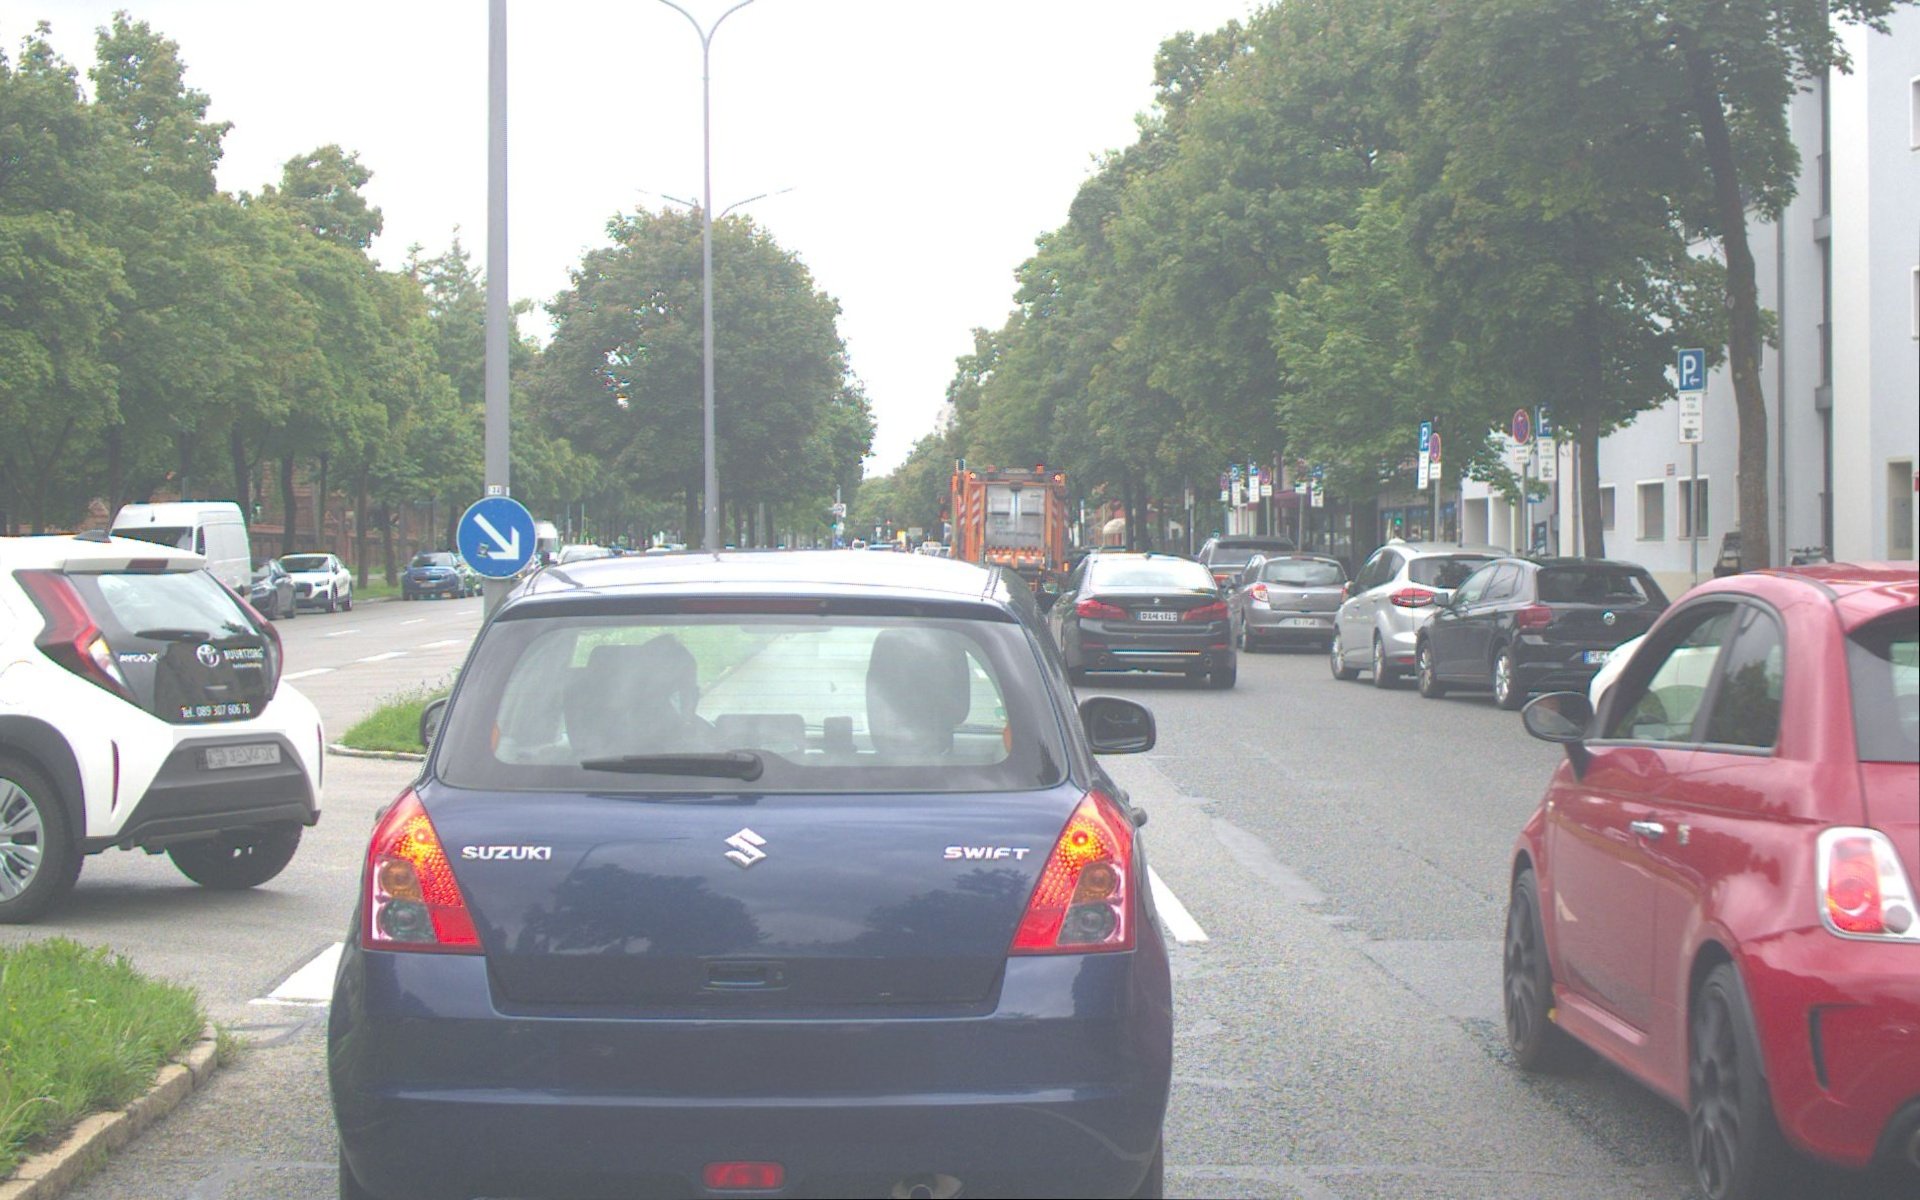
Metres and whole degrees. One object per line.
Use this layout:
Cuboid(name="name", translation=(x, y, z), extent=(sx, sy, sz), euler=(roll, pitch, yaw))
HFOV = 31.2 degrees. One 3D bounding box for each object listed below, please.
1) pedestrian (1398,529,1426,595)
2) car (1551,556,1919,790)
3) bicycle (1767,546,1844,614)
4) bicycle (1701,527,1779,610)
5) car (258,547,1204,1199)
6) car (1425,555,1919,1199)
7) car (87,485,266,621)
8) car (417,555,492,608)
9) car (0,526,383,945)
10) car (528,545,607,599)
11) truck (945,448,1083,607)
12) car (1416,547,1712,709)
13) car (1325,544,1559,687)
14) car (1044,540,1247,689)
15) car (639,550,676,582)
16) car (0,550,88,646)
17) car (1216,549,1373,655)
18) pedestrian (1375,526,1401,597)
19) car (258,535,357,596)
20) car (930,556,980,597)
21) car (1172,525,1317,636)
Cuboid(name="pedestrian", translation=(11.187, -0.947, 85.141), extent=(0.549, 1.624, 0.641), euler=(-2, 1, -1))
Cuboid(name="car", translation=(5.950, 0.449, 23.765), extent=(1.687, 1.485, 3.434), euler=(-1, 1, -38))
Cuboid(name="bicycle", translation=(13.847, -0.340, 56.349), extent=(0.621, 1.043, 2.195), euler=(-4, 1, -1))
Cuboid(name="bicycle", translation=(13.735, -0.560, 60.596), extent=(0.702, 1.402, 2.593), euler=(-2, 1, -1))
Cuboid(name="car", translation=(-0.439, 0.628, 8.379), extent=(1.753, 1.499, 4.000), euler=(0, 1, 0))
Cuboid(name="car", translation=(2.438, 0.646, 9.098), extent=(1.718, 1.495, 4.301), euler=(0, 1, -1))
Cuboid(name="car", translation=(-16.199, -1.015, 71.477), extent=(2.139, 2.634, 7.106), euler=(-1, 1, -1))
Cuboid(name="car", translation=(-16.096, -0.602, 109.615), extent=(1.886, 1.532, 4.315), euler=(-3, 1, -3))
Cuboid(name="car", translation=(-4.475, 0.468, 14.304), extent=(3.713, 1.548, 1.825), euler=(1, 1, 25))
Cuboid(name="car", translation=(-11.039, -0.808, 96.855), extent=(1.815, 1.443, 4.783), euler=(-1, 1, -2))
Cuboid(name="truck", translation=(1.184, -1.753, 83.992), extent=(3.041, 3.545, 13.675), euler=(0, 1, 0))
Cuboid(name="car", translation=(5.779, 0.224, 33.347), extent=(1.829, 1.468, 3.889), euler=(0, 1, -6))
Cuboid(name="car", translation=(5.366, 0.129, 38.854), extent=(1.829, 1.517, 4.524), euler=(0, 1, -2))
Cuboid(name="car", translation=(1.968, 0.106, 37.816), extent=(1.821, 1.472, 4.691), euler=(2, 1, -1))
Cuboid(name="car", translation=(-15.655, -1.752, 177.998), extent=(1.761, 1.532, 4.315), euler=(-3, 1, -4))
Cuboid(name="car", translation=(-15.895, -0.011, 57.146), extent=(1.821, 1.522, 4.299), euler=(-2, 0, -2))
Cuboid(name="car", translation=(4.952, -0.003, 51.392), extent=(1.829, 1.517, 3.771), euler=(0, 1, -2))
Cuboid(name="pedestrian", translation=(10.603, -0.960, 85.127), extent=(0.499, 1.727, 0.733), euler=(-2, 1, -1))
Cuboid(name="car", translation=(-16.397, -0.859, 86.530), extent=(1.857, 1.485, 4.142), euler=(0, 0, -2))
Cuboid(name="car", translation=(-0.199, -0.894, 131.435), extent=(1.829, 1.517, 3.771), euler=(0, 1, -1))
Cuboid(name="car", translation=(4.632, -0.347, 56.484), extent=(1.829, 1.740, 4.509), euler=(0, 1, -2))
